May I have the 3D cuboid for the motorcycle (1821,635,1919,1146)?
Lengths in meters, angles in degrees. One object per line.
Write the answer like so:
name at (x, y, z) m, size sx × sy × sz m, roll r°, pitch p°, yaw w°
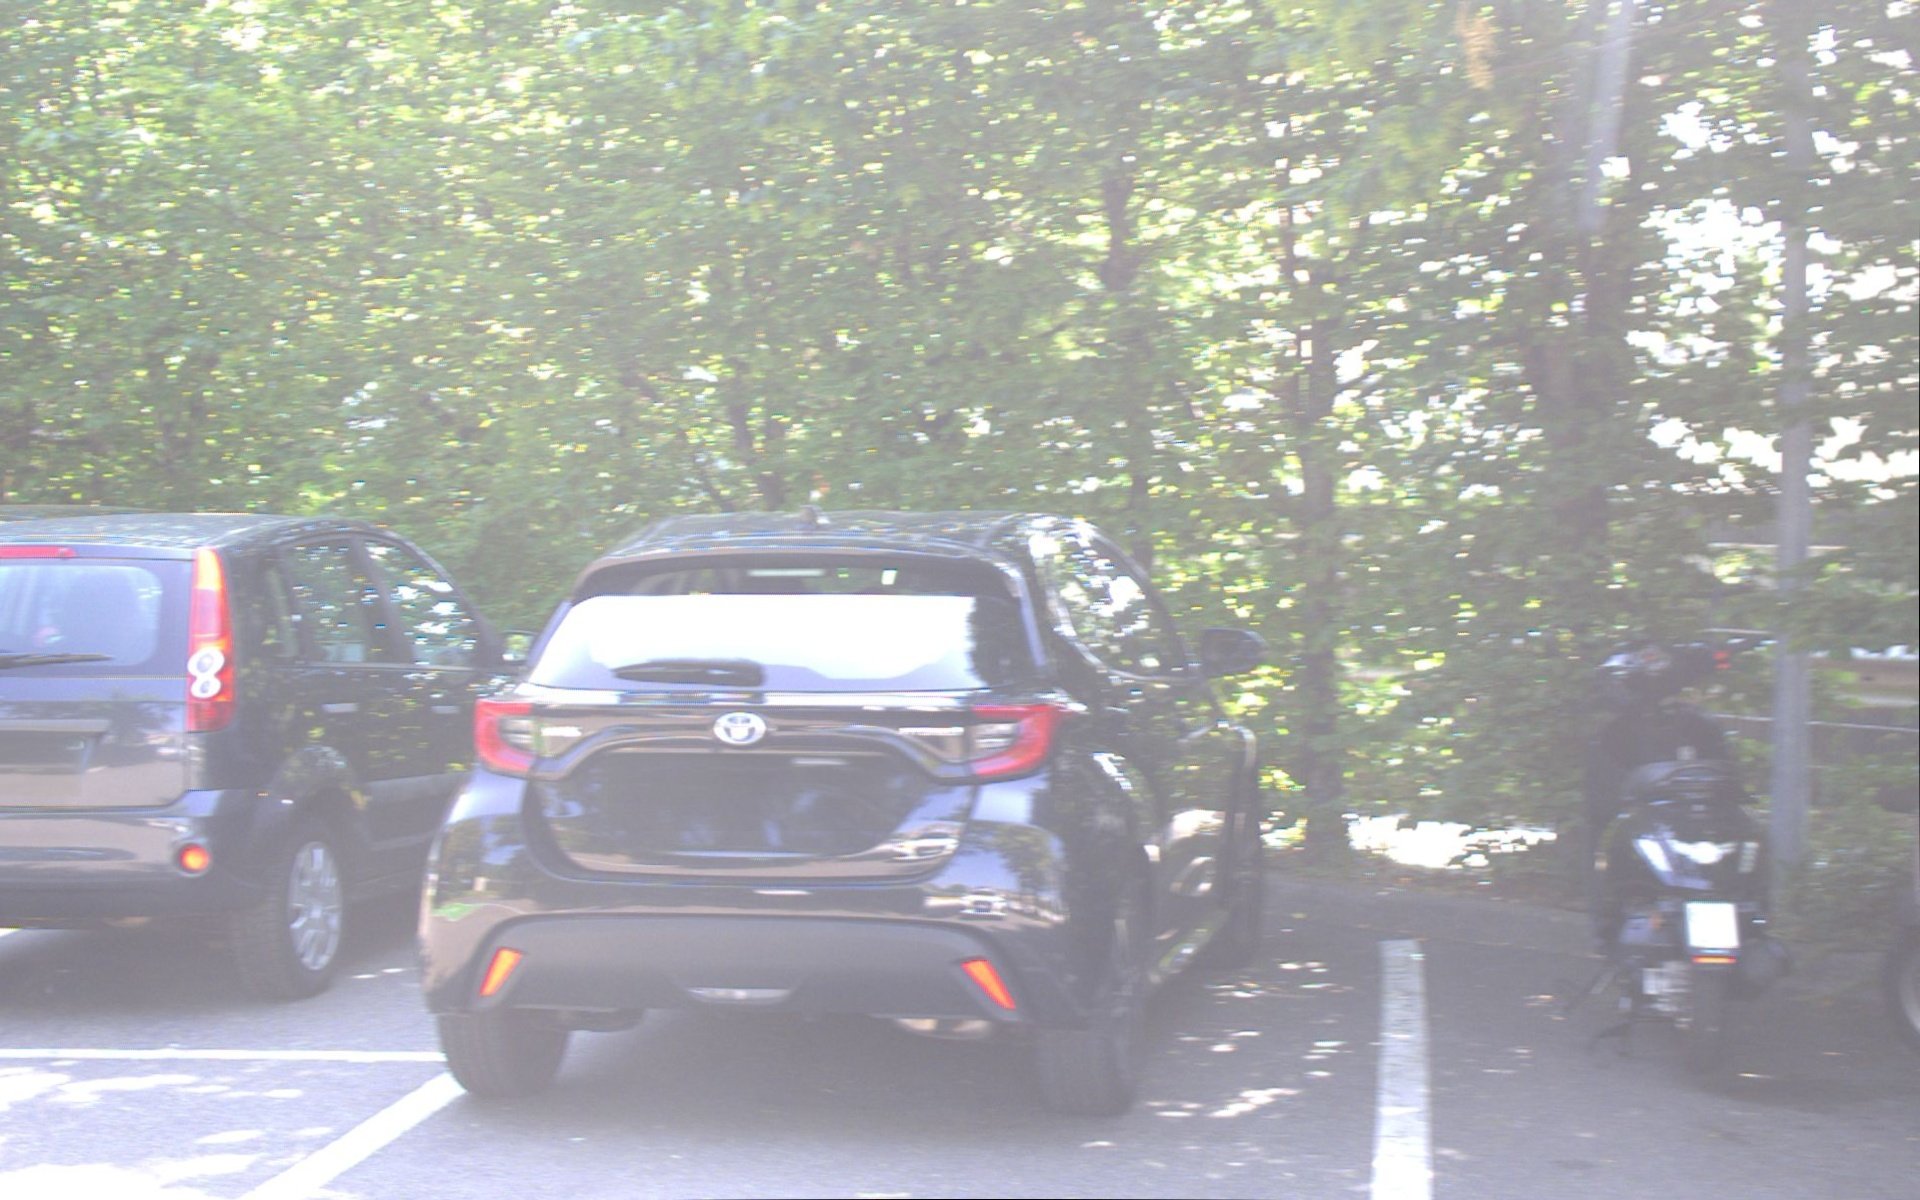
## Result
motorcycle at (2.515, 0.686, 7.923) m, size 0.568 × 1.165 × 1.606 m, roll 0°, pitch 1°, yaw -3°

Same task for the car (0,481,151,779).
car at (-5.964, 0.154, 17.997) m, size 1.769 × 1.566 × 3.998 m, roll 1°, pitch 2°, yaw 13°

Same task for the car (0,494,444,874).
car at (-3.985, 0.268, 15.718) m, size 1.769 × 1.464 × 3.998 m, roll 0°, pitch 2°, yaw 15°

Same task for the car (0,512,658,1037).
car at (-2.469, 0.442, 11.856) m, size 1.700 × 1.448 × 3.998 m, roll 0°, pitch 2°, yaw 13°

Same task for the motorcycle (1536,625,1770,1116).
motorcycle at (1.820, 0.662, 9.165) m, size 0.473 × 1.137 × 1.605 m, roll 1°, pitch 1°, yaw 7°

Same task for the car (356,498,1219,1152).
car at (-0.272, 0.456, 9.924) m, size 1.656 × 1.464 × 3.903 m, roll 0°, pitch 2°, yaw 10°
